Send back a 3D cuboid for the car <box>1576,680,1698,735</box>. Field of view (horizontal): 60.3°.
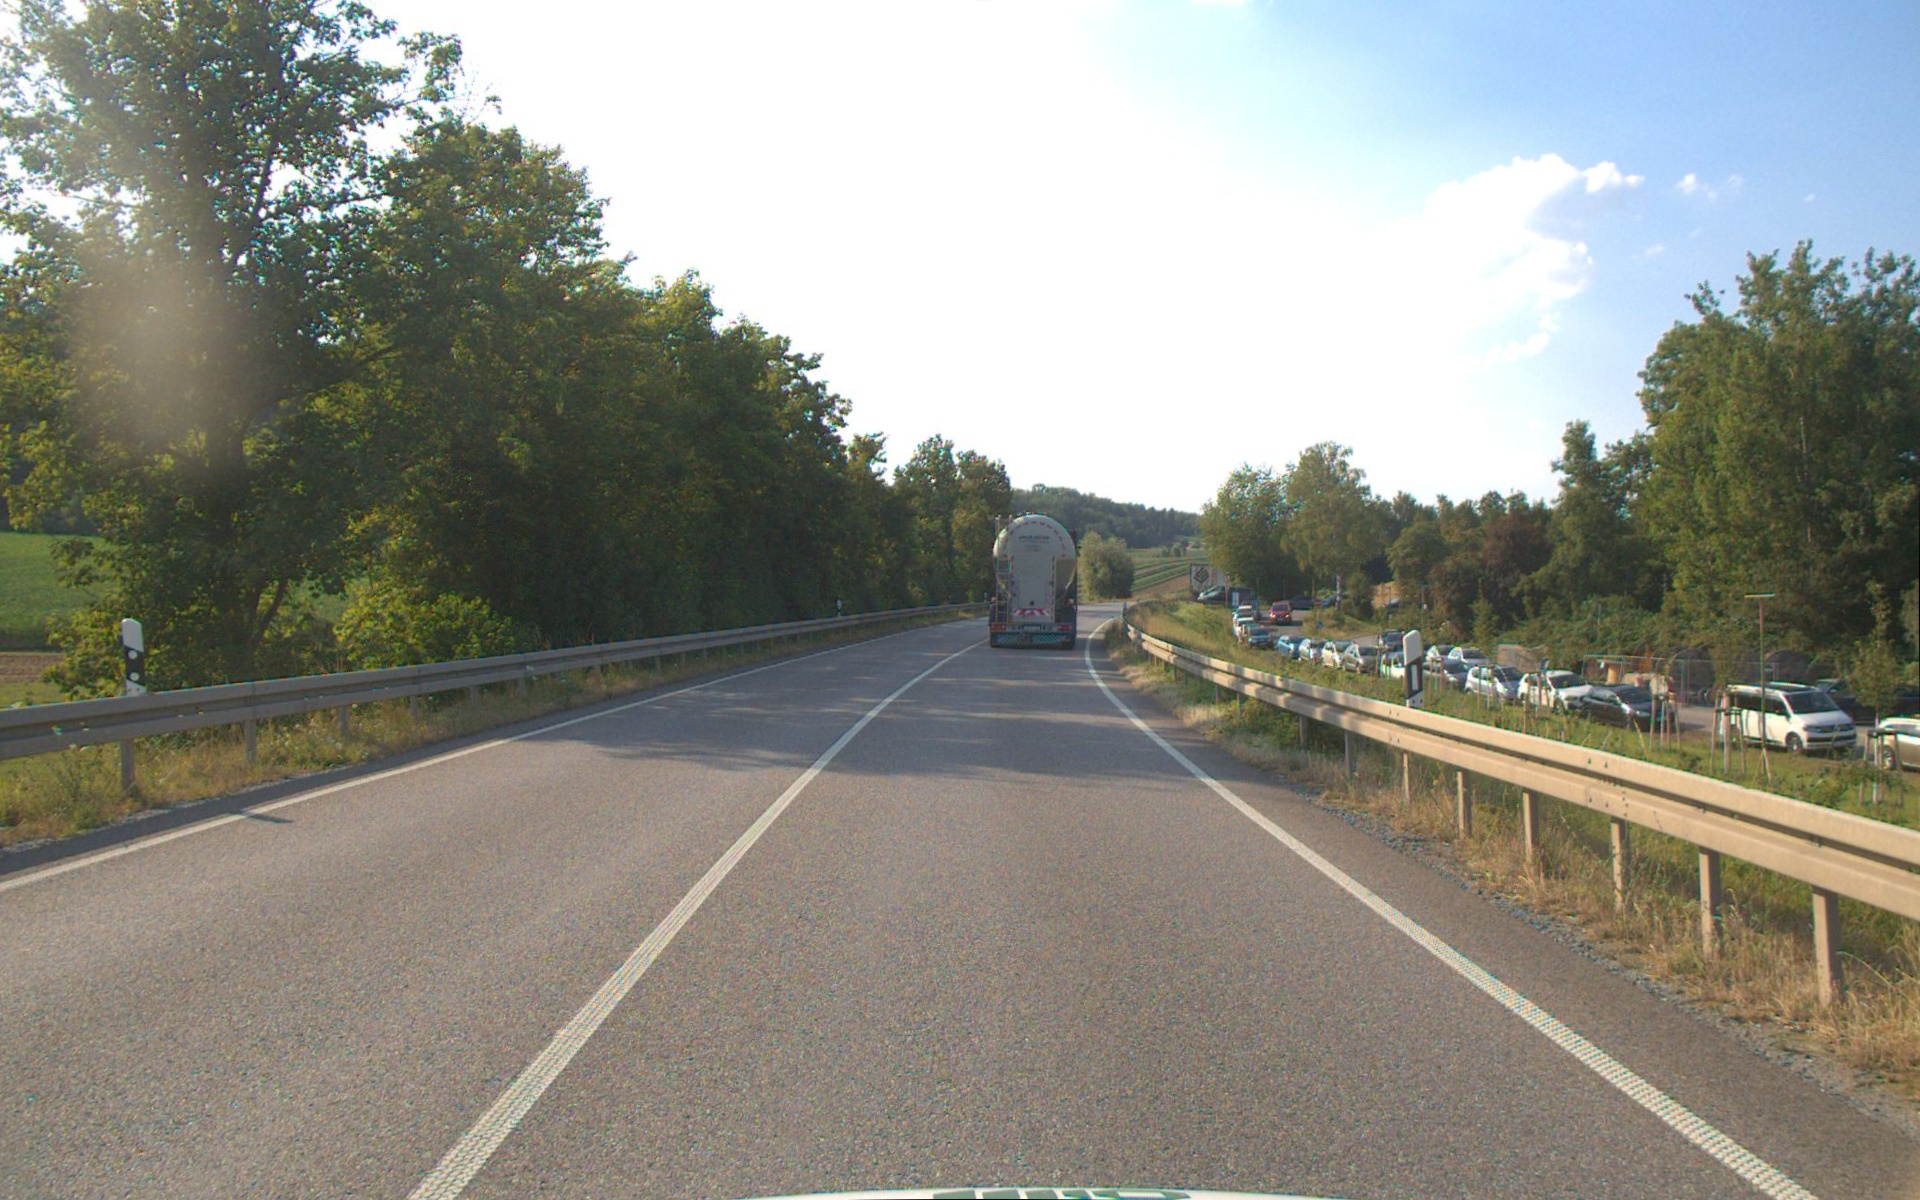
[{"bbox_3d":[25.123,3.942,61.576,1.858,1.508,4.770,-4,2,-11],"label":"car"}]

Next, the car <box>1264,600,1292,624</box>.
[{"bbox_3d":[27.235,1.007,141.760,1.852,1.716,5.091,-3,2,7],"label":"car"}]

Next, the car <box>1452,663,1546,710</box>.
[{"bbox_3d":[23.867,3.809,73.393,1.858,1.586,4.770,-4,2,-11],"label":"car"}]

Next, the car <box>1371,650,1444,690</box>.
[{"bbox_3d":[23.065,3.589,85.402,1.857,1.586,4.774,-4,2,-8],"label":"car"}]

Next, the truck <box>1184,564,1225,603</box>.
[{"bbox_3d":[28.096,-1.974,189.753,3.116,4.301,13.183,0,1,15],"label":"truck"}]

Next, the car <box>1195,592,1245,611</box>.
[{"bbox_3d":[24.604,0.117,156.397,4.240,1.423,1.714,4,2,-16],"label":"car"}]

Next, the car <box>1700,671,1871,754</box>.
[{"bbox_3d":[26.630,3.576,53.632,2.082,2.052,5.365,-4,2,-11],"label":"car"}]

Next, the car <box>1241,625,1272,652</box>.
[{"bbox_3d":[21.505,2.796,120.060,1.852,1.586,4.787,-3,2,7],"label":"car"}]

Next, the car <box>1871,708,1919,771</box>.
[{"bbox_3d":[28.052,4.016,46.230,1.858,1.508,4.770,-4,2,-11],"label":"car"}]

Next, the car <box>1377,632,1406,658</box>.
[{"bbox_3d":[28.988,2.997,110.989,1.665,1.423,4.788,-3,0,17],"label":"car"}]

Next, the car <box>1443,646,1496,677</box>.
[{"bbox_3d":[28.157,3.405,91.577,1.666,1.536,3.944,-1,0,-1],"label":"car"}]

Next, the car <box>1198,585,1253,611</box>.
[{"bbox_3d":[25.716,-0.210,160.075,5.032,1.976,1.977,6,2,11],"label":"car"}]

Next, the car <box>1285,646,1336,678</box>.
[{"bbox_3d":[21.610,3.814,102.189,1.854,1.586,4.780,-3,2,-3],"label":"car"}]

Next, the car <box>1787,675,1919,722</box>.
[{"bbox_3d":[33.585,3.673,62.093,4.144,1.515,1.835,1,3,4],"label":"car"}]

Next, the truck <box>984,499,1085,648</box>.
[{"bbox_3d":[2.288,-0.789,53.781,2.833,4.215,13.174,1,0,1],"label":"truck"}]

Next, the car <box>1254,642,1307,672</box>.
[{"bbox_3d":[20.948,3.718,108.273,1.857,1.586,4.774,-4,2,-8],"label":"car"}]

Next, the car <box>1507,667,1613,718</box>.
[{"bbox_3d":[24.590,3.753,67.961,1.858,1.586,4.770,-4,2,-11],"label":"car"}]

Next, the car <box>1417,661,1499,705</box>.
[{"bbox_3d":[23.567,3.907,78.450,1.857,1.586,4.774,-4,2,-8],"label":"car"}]

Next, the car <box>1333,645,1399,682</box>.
[{"bbox_3d":[22.437,3.493,91.515,1.857,1.586,4.774,-4,2,-8],"label":"car"}]
